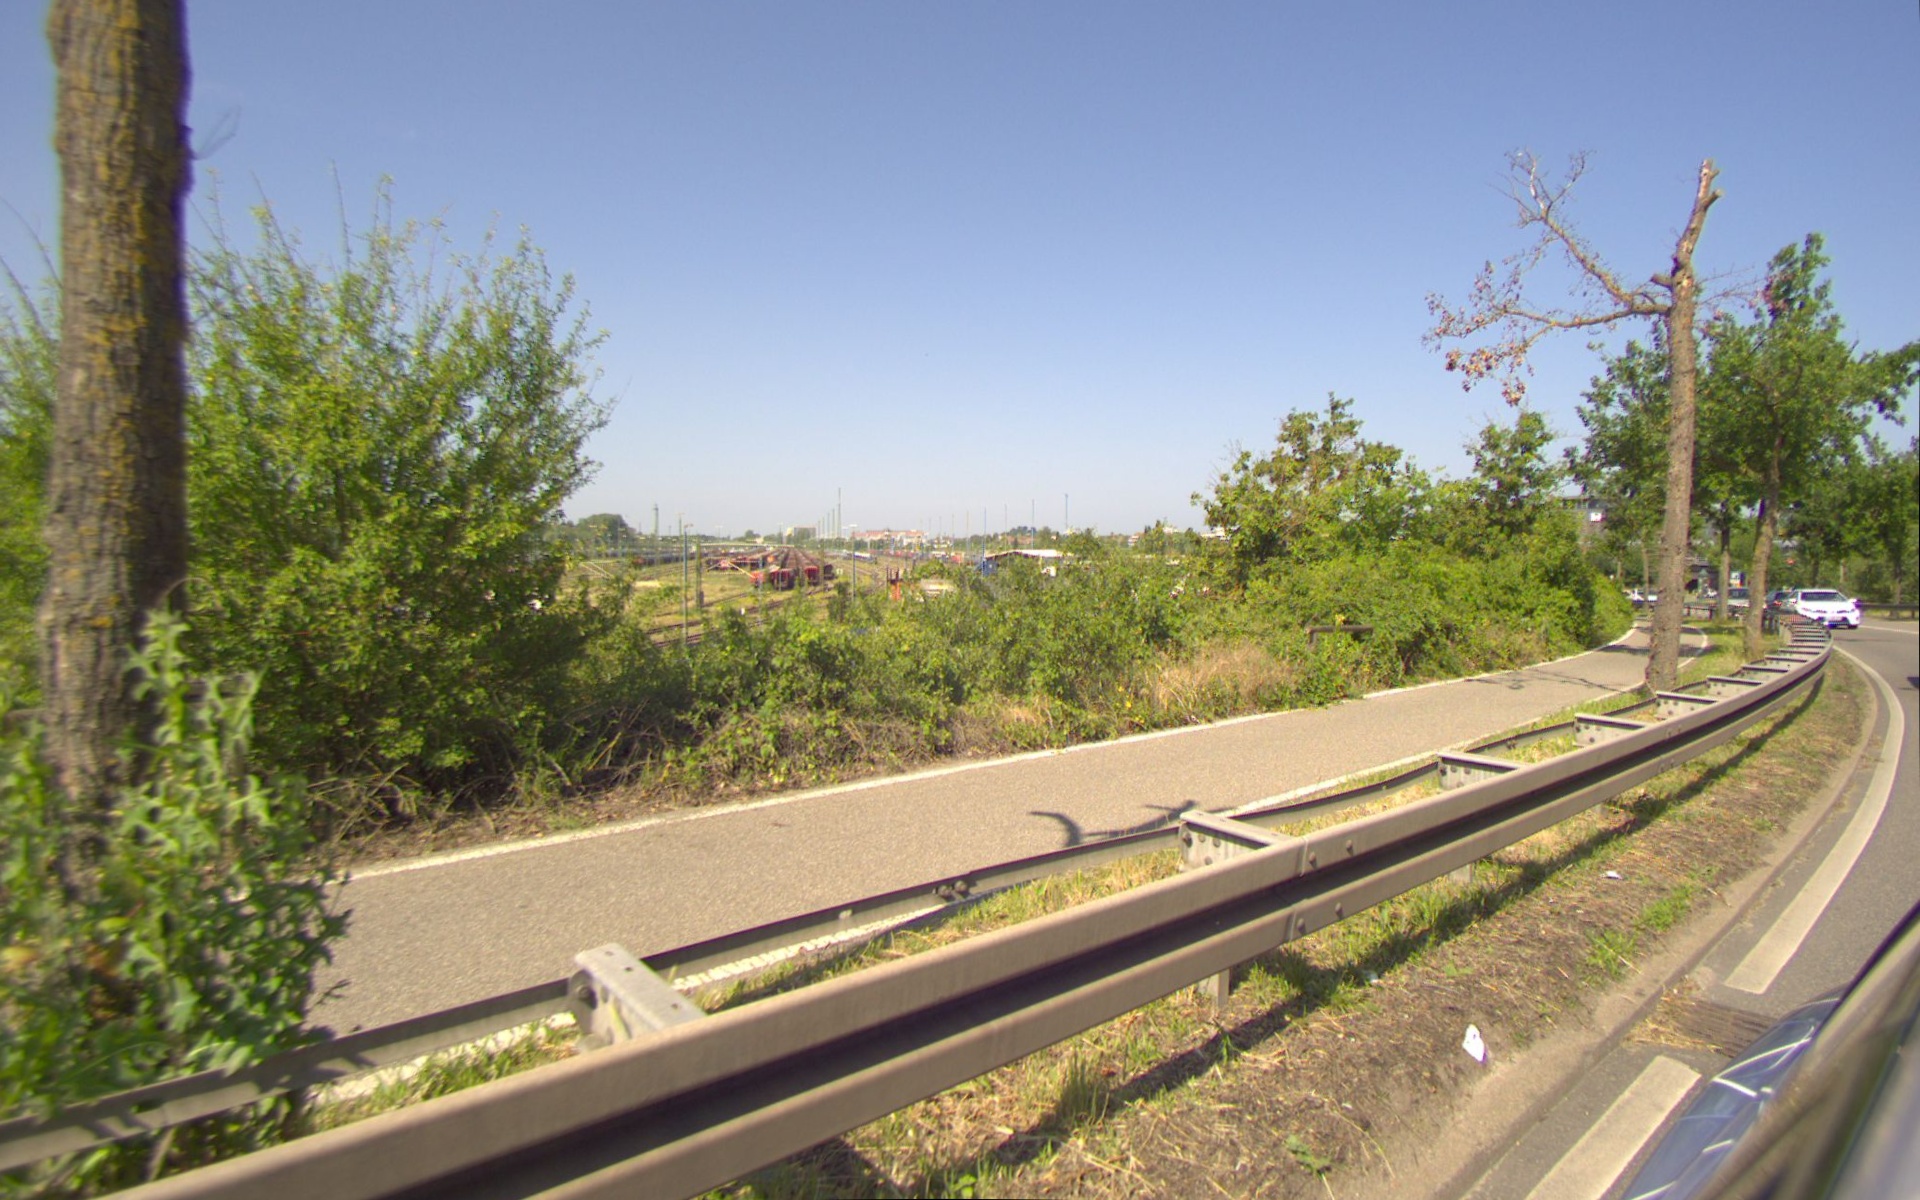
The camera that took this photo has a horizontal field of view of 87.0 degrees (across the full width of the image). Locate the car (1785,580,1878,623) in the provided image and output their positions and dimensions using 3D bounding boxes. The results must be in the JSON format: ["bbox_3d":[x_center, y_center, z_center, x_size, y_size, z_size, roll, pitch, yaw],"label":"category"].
[{"bbox_3d":[32.440,0.019,37.796,1.831,1.507,4.109,0,1,29],"label":"car"}]

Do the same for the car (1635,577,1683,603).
[{"bbox_3d":[50.251,-0.713,72.878,1.977,1.790,3.970,-1,0,22],"label":"car"}]

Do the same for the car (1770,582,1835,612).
[{"bbox_3d":[44.231,-0.182,53.211,1.690,1.467,4.084,-1,0,26],"label":"car"}]

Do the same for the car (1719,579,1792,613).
[{"bbox_3d":[39.000,-0.240,49.723,1.980,1.605,3.965,0,1,26],"label":"car"}]
